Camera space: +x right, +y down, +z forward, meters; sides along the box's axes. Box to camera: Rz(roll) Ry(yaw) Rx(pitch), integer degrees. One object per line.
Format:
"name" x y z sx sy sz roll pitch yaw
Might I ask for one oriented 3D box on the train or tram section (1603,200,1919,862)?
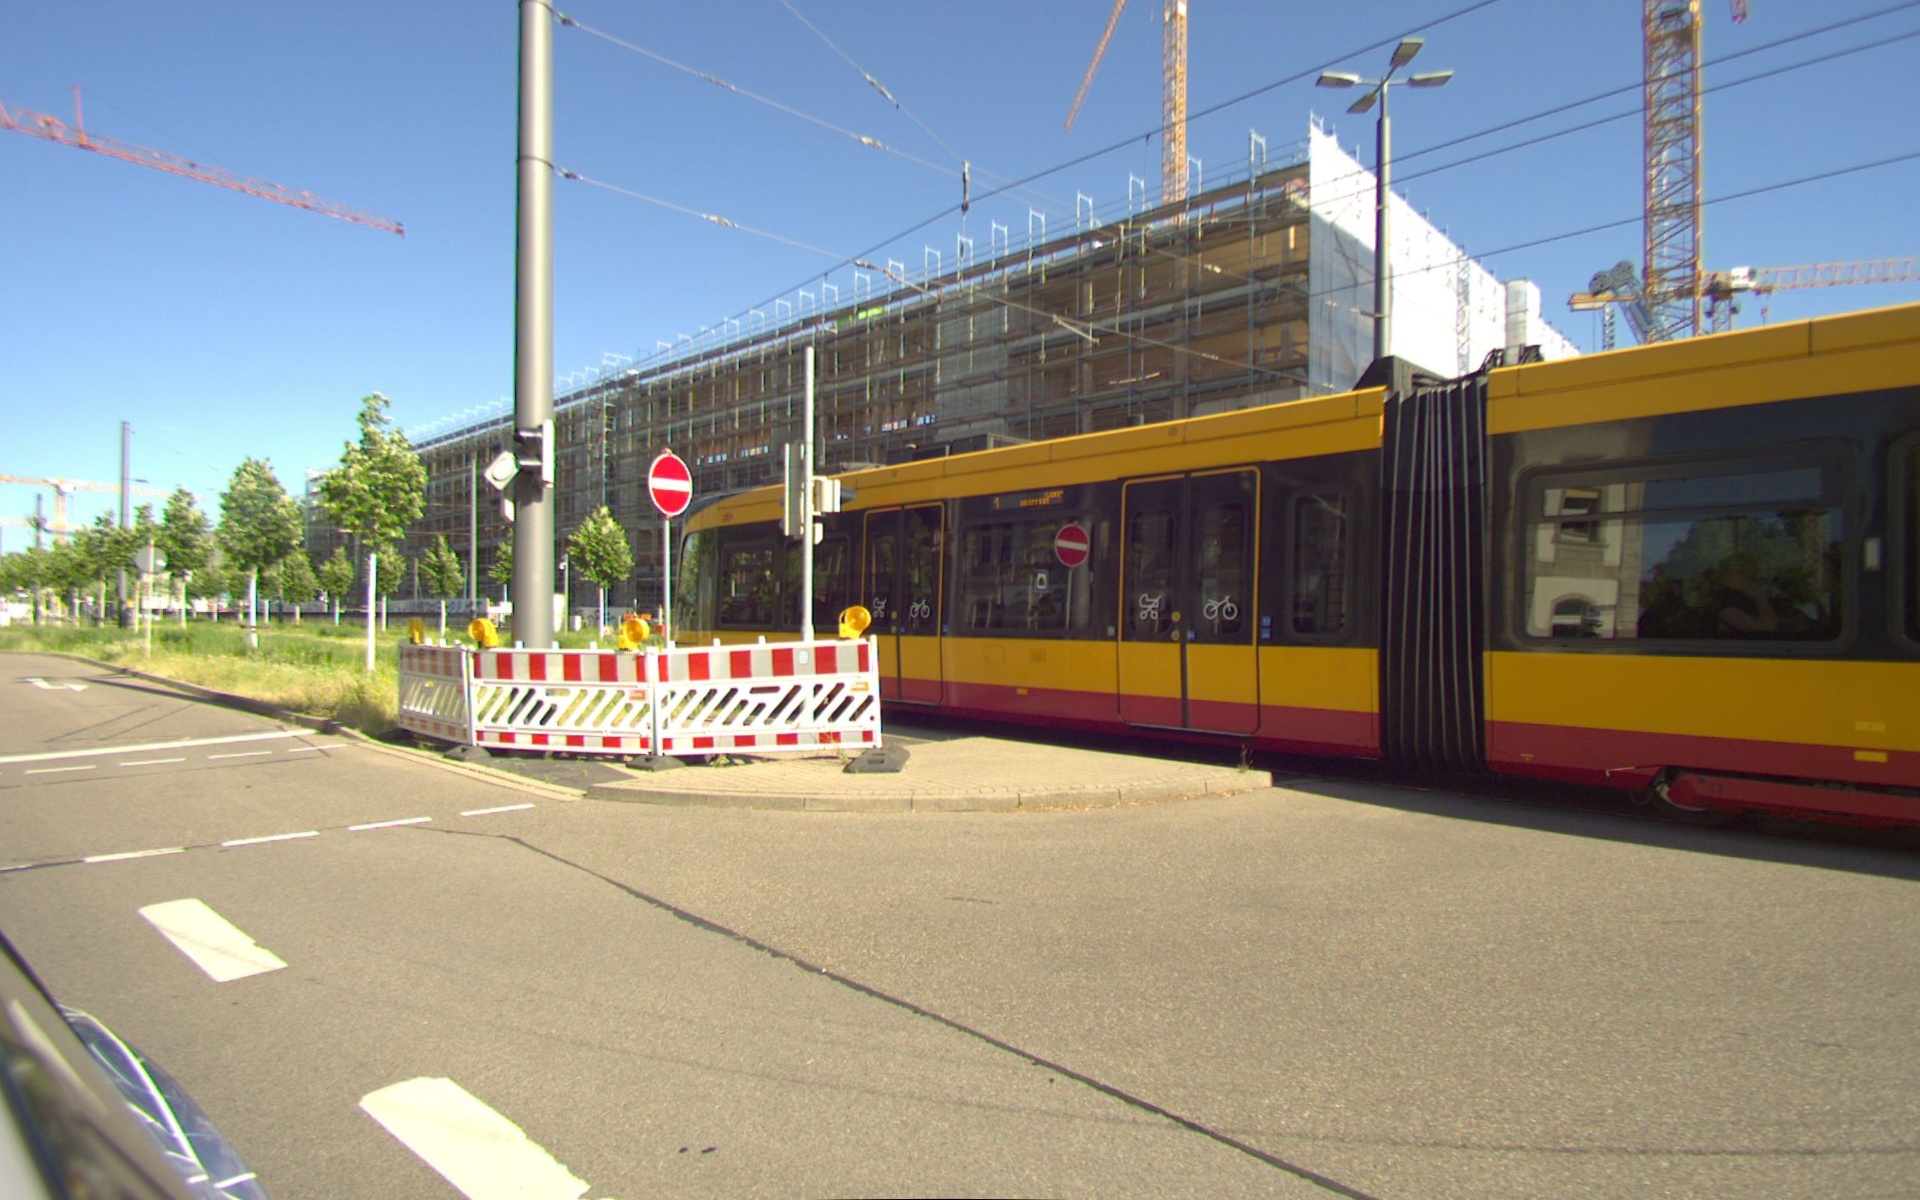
"train or tram section" 8.953 -0.411 3.388 1.970 3.697 11.324 0 0 -44

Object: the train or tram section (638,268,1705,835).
"train or tram section" 0.252 -0.286 12.401 1.970 3.697 14.163 0 0 -44
